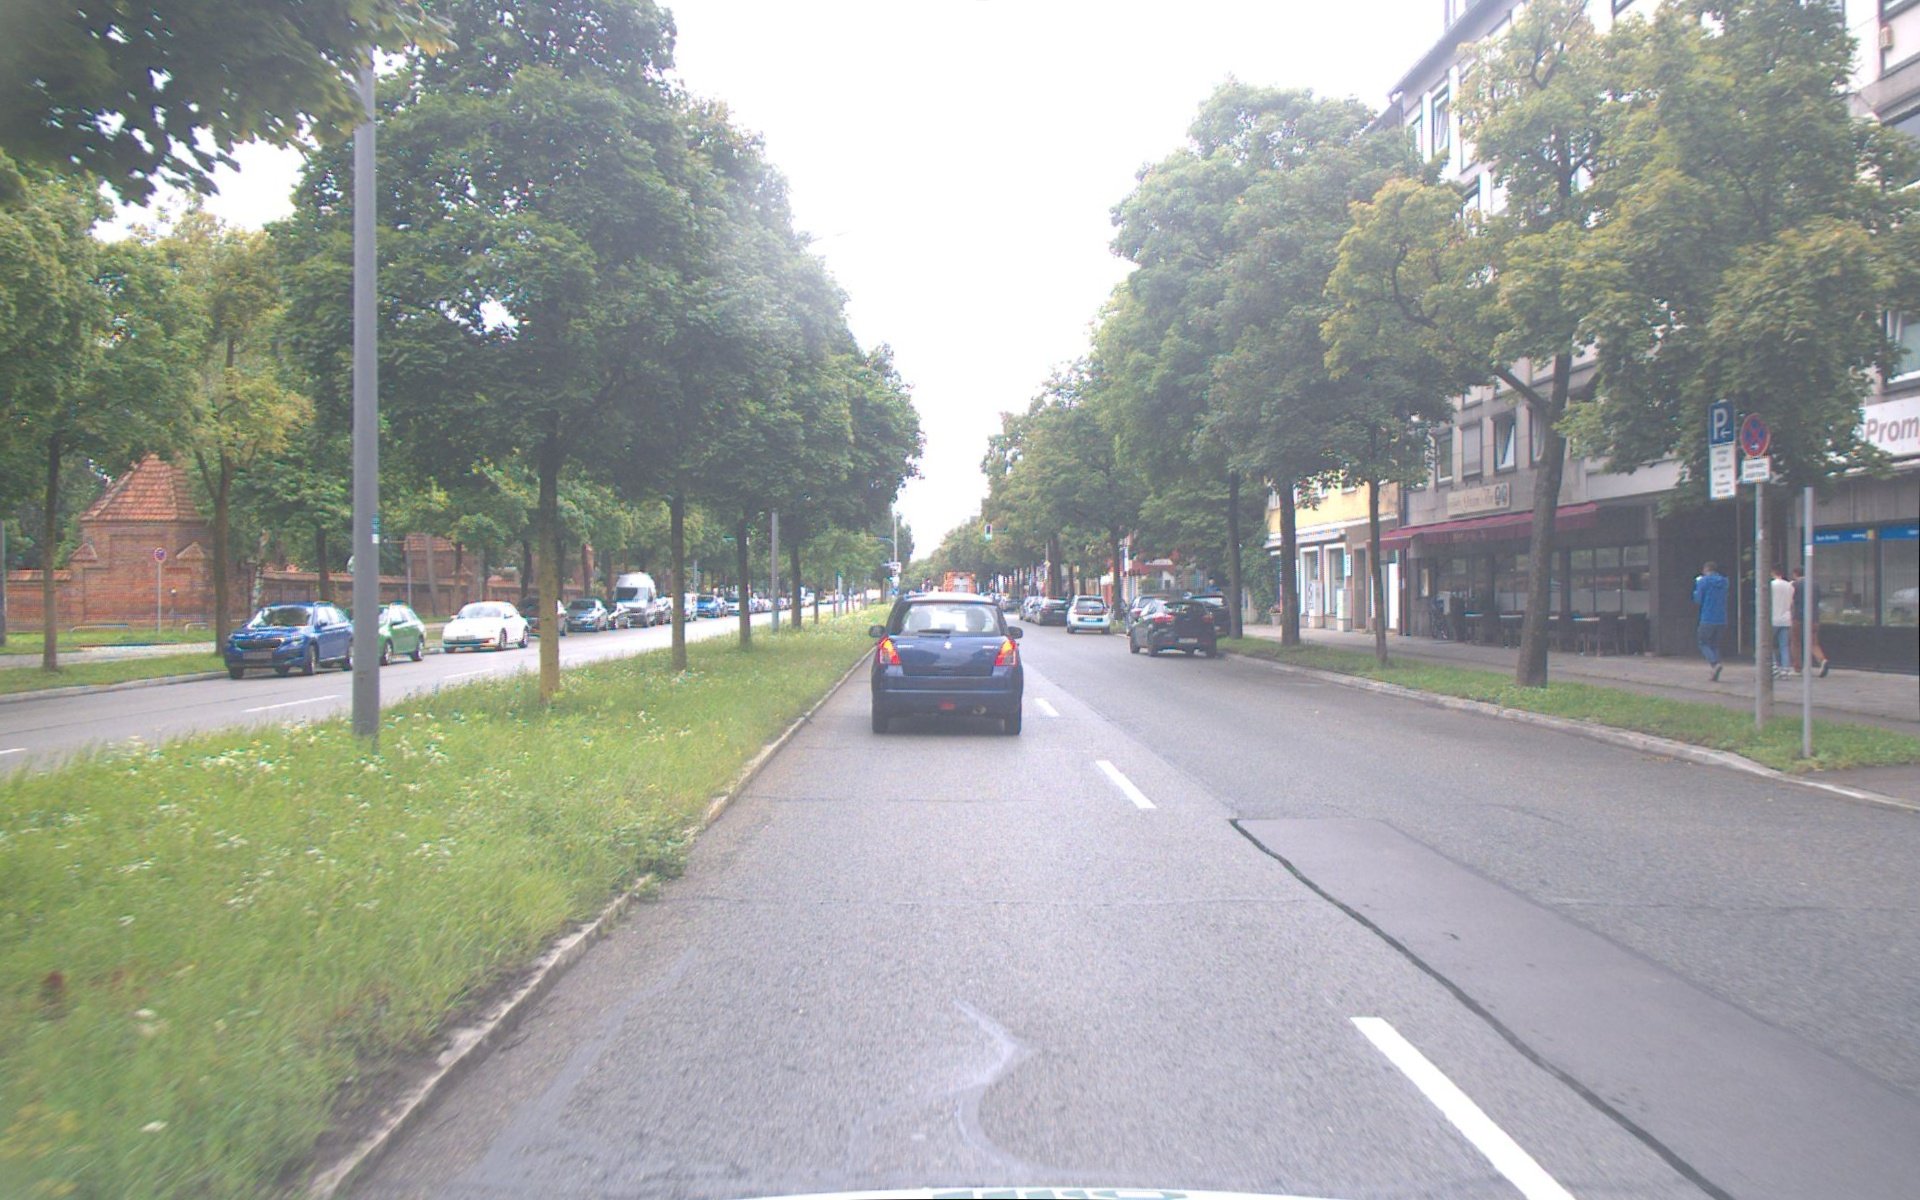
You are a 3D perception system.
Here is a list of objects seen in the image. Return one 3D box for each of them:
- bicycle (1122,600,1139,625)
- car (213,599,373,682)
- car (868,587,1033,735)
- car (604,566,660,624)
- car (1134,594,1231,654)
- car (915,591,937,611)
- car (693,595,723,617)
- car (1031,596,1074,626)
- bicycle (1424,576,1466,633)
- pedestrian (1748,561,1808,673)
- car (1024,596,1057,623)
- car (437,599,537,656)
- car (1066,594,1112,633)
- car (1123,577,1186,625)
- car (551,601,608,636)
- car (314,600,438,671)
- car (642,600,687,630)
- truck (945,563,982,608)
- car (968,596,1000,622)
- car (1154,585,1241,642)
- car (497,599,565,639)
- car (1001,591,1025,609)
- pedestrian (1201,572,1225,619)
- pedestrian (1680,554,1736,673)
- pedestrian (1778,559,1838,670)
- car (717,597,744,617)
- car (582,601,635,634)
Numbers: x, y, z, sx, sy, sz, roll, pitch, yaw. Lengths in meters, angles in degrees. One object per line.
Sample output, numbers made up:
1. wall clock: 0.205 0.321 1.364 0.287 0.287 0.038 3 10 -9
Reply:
1. bicycle: 7.015 0.508 68.112 0.439 0.997 1.798 0 0 -1
2. car: -14.396 0.827 35.977 1.849 1.564 4.312 -3 0 -3
3. car: -0.114 0.623 19.258 1.717 1.531 4.000 0 0 0
4. car: -17.693 -0.255 89.496 2.142 3.005 6.187 0 0 -4
5. car: 5.742 0.583 43.114 1.953 1.477 3.999 0 0 -1
6. car: -2.637 0.082 127.031 1.684 1.527 4.299 0 0 -1
7. car: -18.456 0.419 121.250 1.672 1.561 3.999 -1 0 -1
8. car: 4.660 0.539 84.078 1.621 1.477 4.705 -1 0 -3
9. bicycle: 12.882 0.118 43.974 0.568 1.489 1.688 0 0 -1
10. pedestrian: 12.298 0.250 24.871 0.538 1.658 0.641 -2 0 -1
11. car: 4.561 0.531 94.222 1.660 1.477 4.123 -1 0 0
12. car: -14.725 0.826 51.702 1.725 1.564 4.315 -3 0 1
13. car: 5.248 0.525 67.593 1.619 1.477 4.001 -1 0 1
14. car: 7.170 0.024 61.384 1.778 1.654 4.307 -2 0 0
15. car: -17.623 0.848 76.801 1.777 1.563 4.439 0 0 -2
16. car: -14.582 0.849 41.526 1.605 1.564 4.313 -3 0 -1
17. car: -18.046 0.895 101.155 2.142 1.766 4.574 0 0 -4
18. truck: 0.199 -1.205 140.754 2.979 3.619 13.673 0 0 0
19. car: 1.506 0.552 104.394 1.785 1.503 4.689 2 0 -1
20. car: 7.164 0.378 50.299 1.953 1.671 4.332 0 0 -1
21. car: -17.386 0.750 67.204 1.777 1.563 4.296 0 0 -2
22. car: 4.758 -0.021 150.170 1.953 1.557 3.999 -1 0 -1
23. pedestrian: 10.376 -0.172 67.847 0.776 1.888 0.776 -2 0 -4
24. pedestrian: 11.254 0.196 24.899 0.489 1.763 0.732 0 0 -1
25. pedestrian: 12.893 0.214 25.148 0.530 1.669 0.724 0 0 -1
26. car: -19.163 0.580 138.059 1.765 1.561 3.999 -1 0 -1
27. car: -17.532 0.862 82.745 1.777 1.563 4.817 0 0 -2
